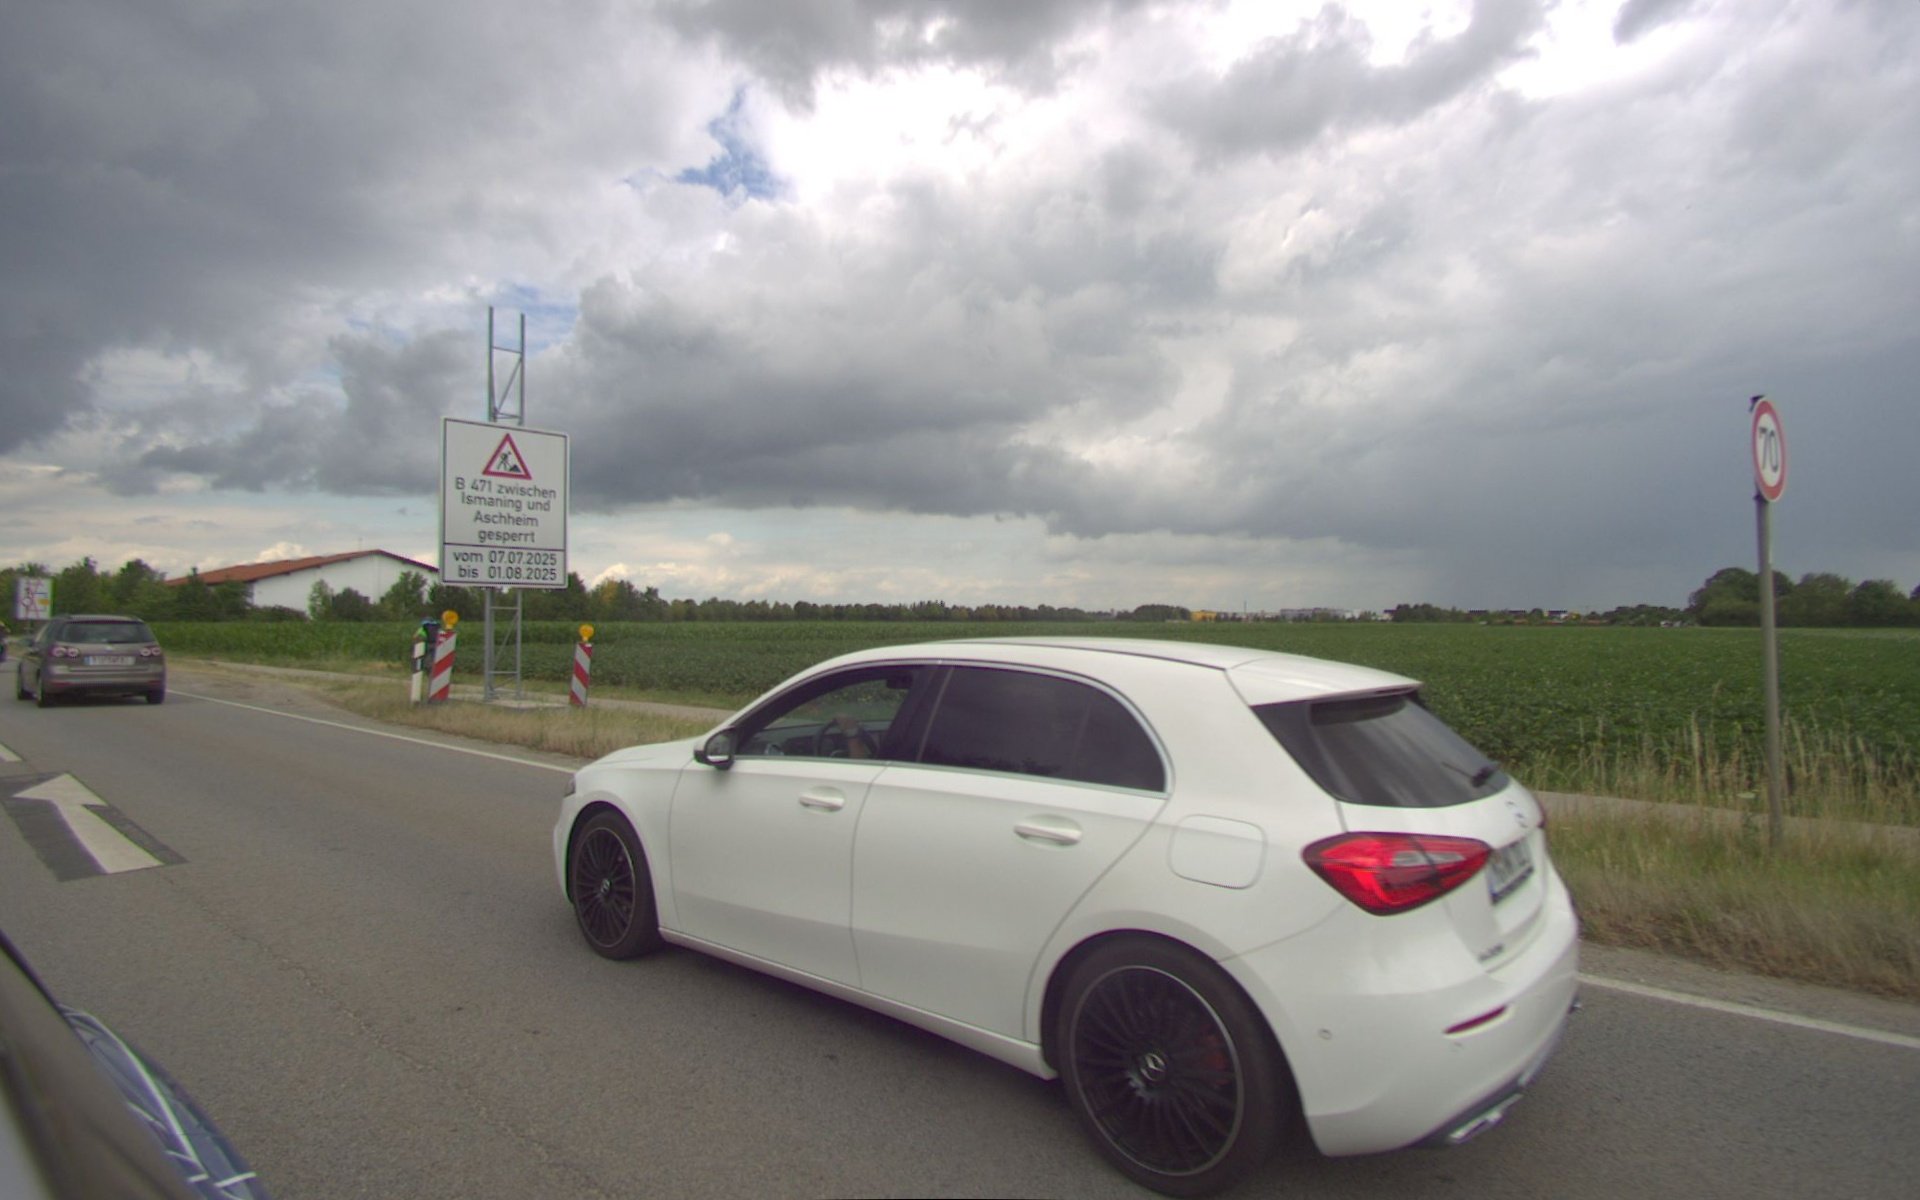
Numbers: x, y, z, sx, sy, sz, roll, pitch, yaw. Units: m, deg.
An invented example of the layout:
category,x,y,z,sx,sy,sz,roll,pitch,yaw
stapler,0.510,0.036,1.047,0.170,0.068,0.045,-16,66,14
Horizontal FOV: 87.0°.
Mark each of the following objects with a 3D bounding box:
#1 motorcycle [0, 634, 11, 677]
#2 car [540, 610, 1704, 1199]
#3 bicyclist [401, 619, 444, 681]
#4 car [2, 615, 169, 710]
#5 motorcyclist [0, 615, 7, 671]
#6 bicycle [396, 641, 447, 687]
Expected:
category,x,y,z,sx,sy,sz,roll,pitch,yaw
motorcycle,-27.499,1.539,28.549,2.619,1.167,0.789,-1,-2,41
car,0.233,0.780,3.887,4.098,1.383,1.754,-1,-3,41
bicyclist,-14.109,1.303,26.559,1.222,1.596,0.523,-1,-4,41
car,-16.105,1.088,18.569,4.299,1.551,1.686,-1,-3,41
motorcyclist,-27.616,1.221,28.663,1.077,1.585,0.789,-1,-2,41
bicycle,-14.167,1.664,26.606,1.793,1.164,0.523,-1,-4,41
